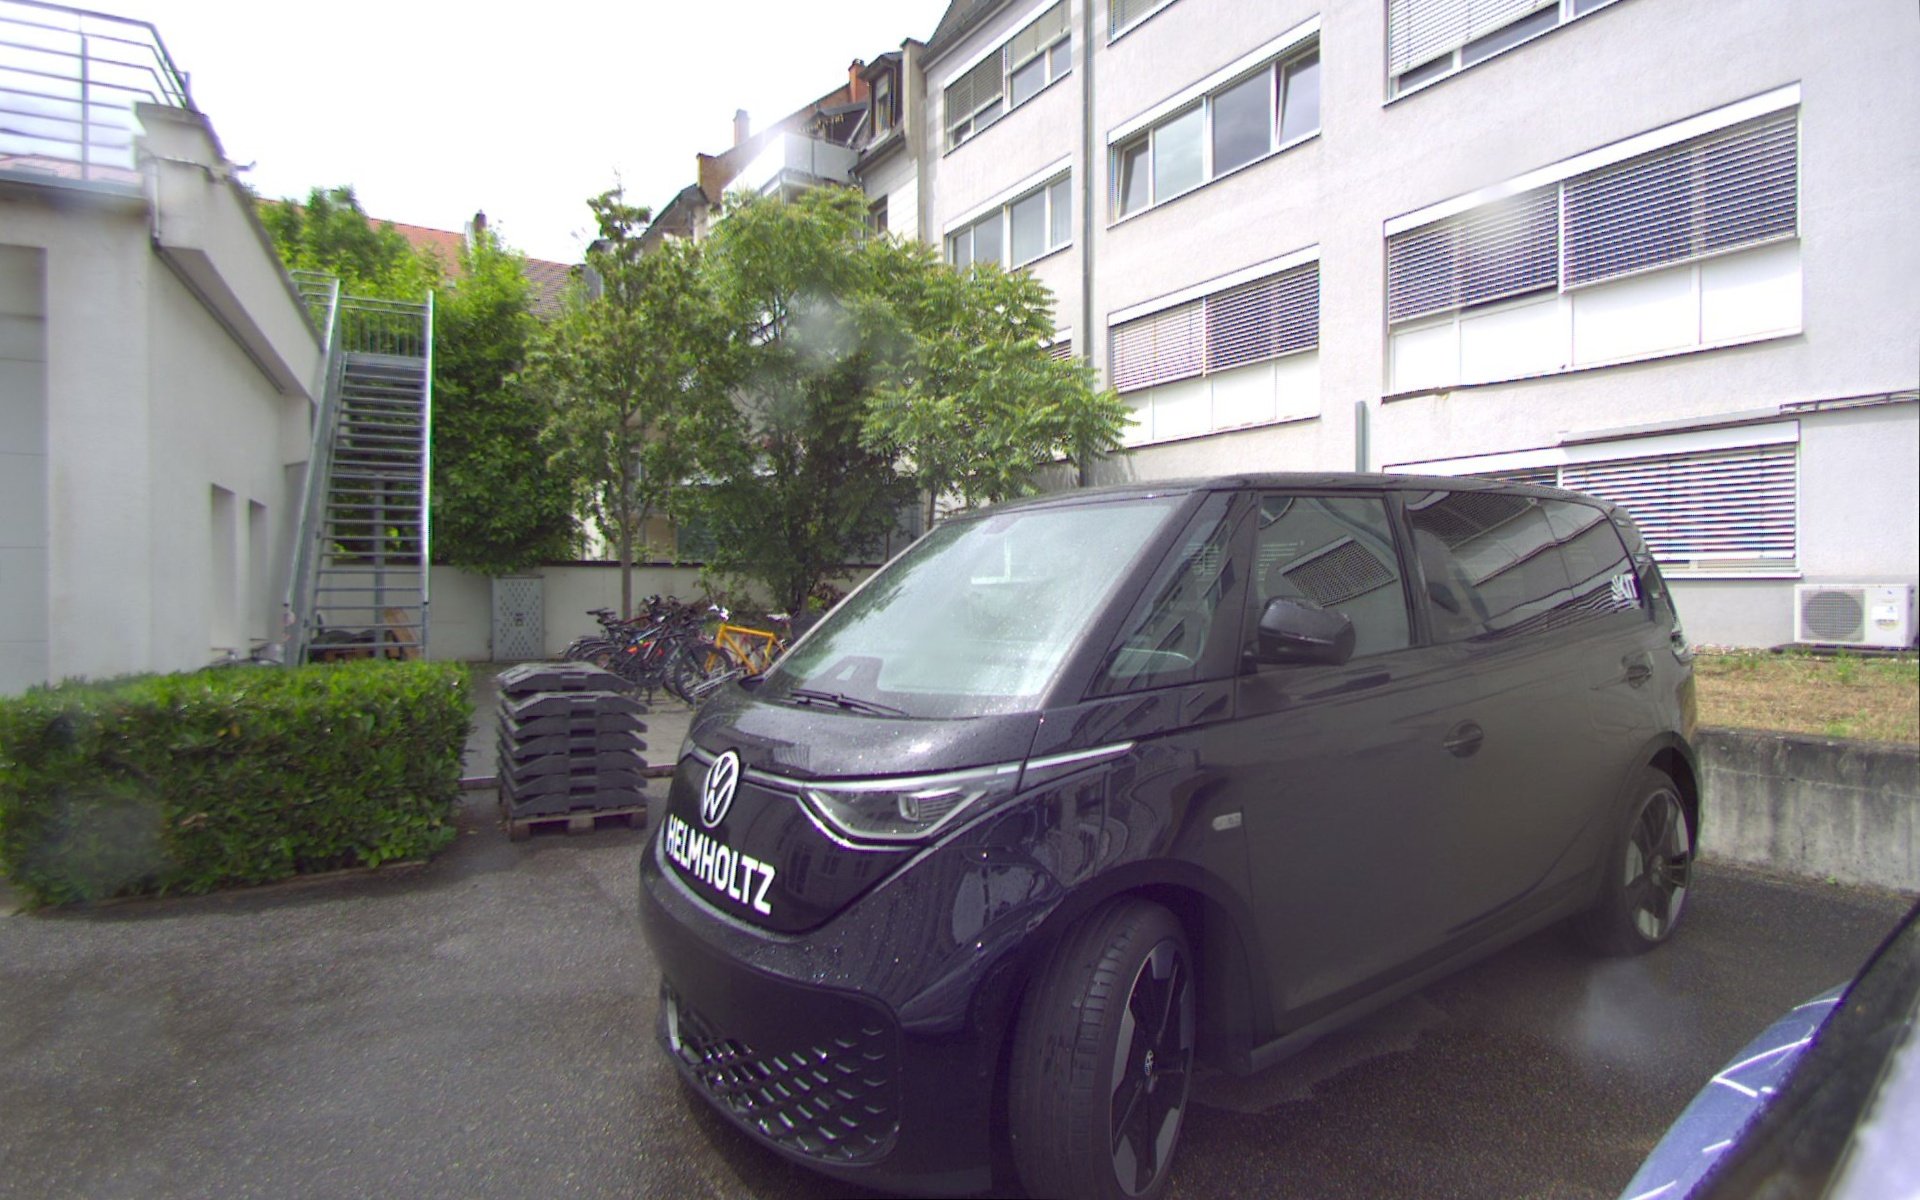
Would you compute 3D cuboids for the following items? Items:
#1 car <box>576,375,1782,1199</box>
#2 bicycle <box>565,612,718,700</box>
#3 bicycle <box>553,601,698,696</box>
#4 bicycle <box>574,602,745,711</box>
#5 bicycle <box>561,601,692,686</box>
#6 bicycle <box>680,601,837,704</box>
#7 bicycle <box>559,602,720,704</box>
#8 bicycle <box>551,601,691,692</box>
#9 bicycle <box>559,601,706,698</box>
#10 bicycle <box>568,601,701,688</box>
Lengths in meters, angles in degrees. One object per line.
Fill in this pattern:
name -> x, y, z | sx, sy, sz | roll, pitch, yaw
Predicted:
car -> 1.174, 0.464, 3.974 | 4.658, 1.888, 1.970 | -2, 1, -35
bicycle -> -3.843, 0.656, 12.299 | 1.762, 0.979, 0.330 | -1, 1, -34
bicycle -> -4.233, 0.588, 12.876 | 1.722, 1.117, 0.343 | -1, 1, -34
bicycle -> -3.286, 0.591, 11.127 | 1.759, 1.117, 0.406 | 0, 1, -26
bicycle -> -4.662, 0.580, 14.228 | 1.722, 1.117, 0.342 | -1, 1, -34
bicycle -> -2.321, 0.584, 11.748 | 1.759, 1.117, 0.368 | 0, 1, -26
bicycle -> -3.727, 0.590, 11.807 | 1.759, 1.117, 0.355 | 0, 1, -26
bicycle -> -4.436, 0.585, 13.321 | 1.722, 1.117, 0.346 | -1, 1, -34
bicycle -> -4.042, 0.587, 12.579 | 1.722, 1.117, 0.333 | -1, 1, -34
bicycle -> -4.456, 0.580, 13.928 | 1.722, 1.117, 0.355 | -1, 1, -34
